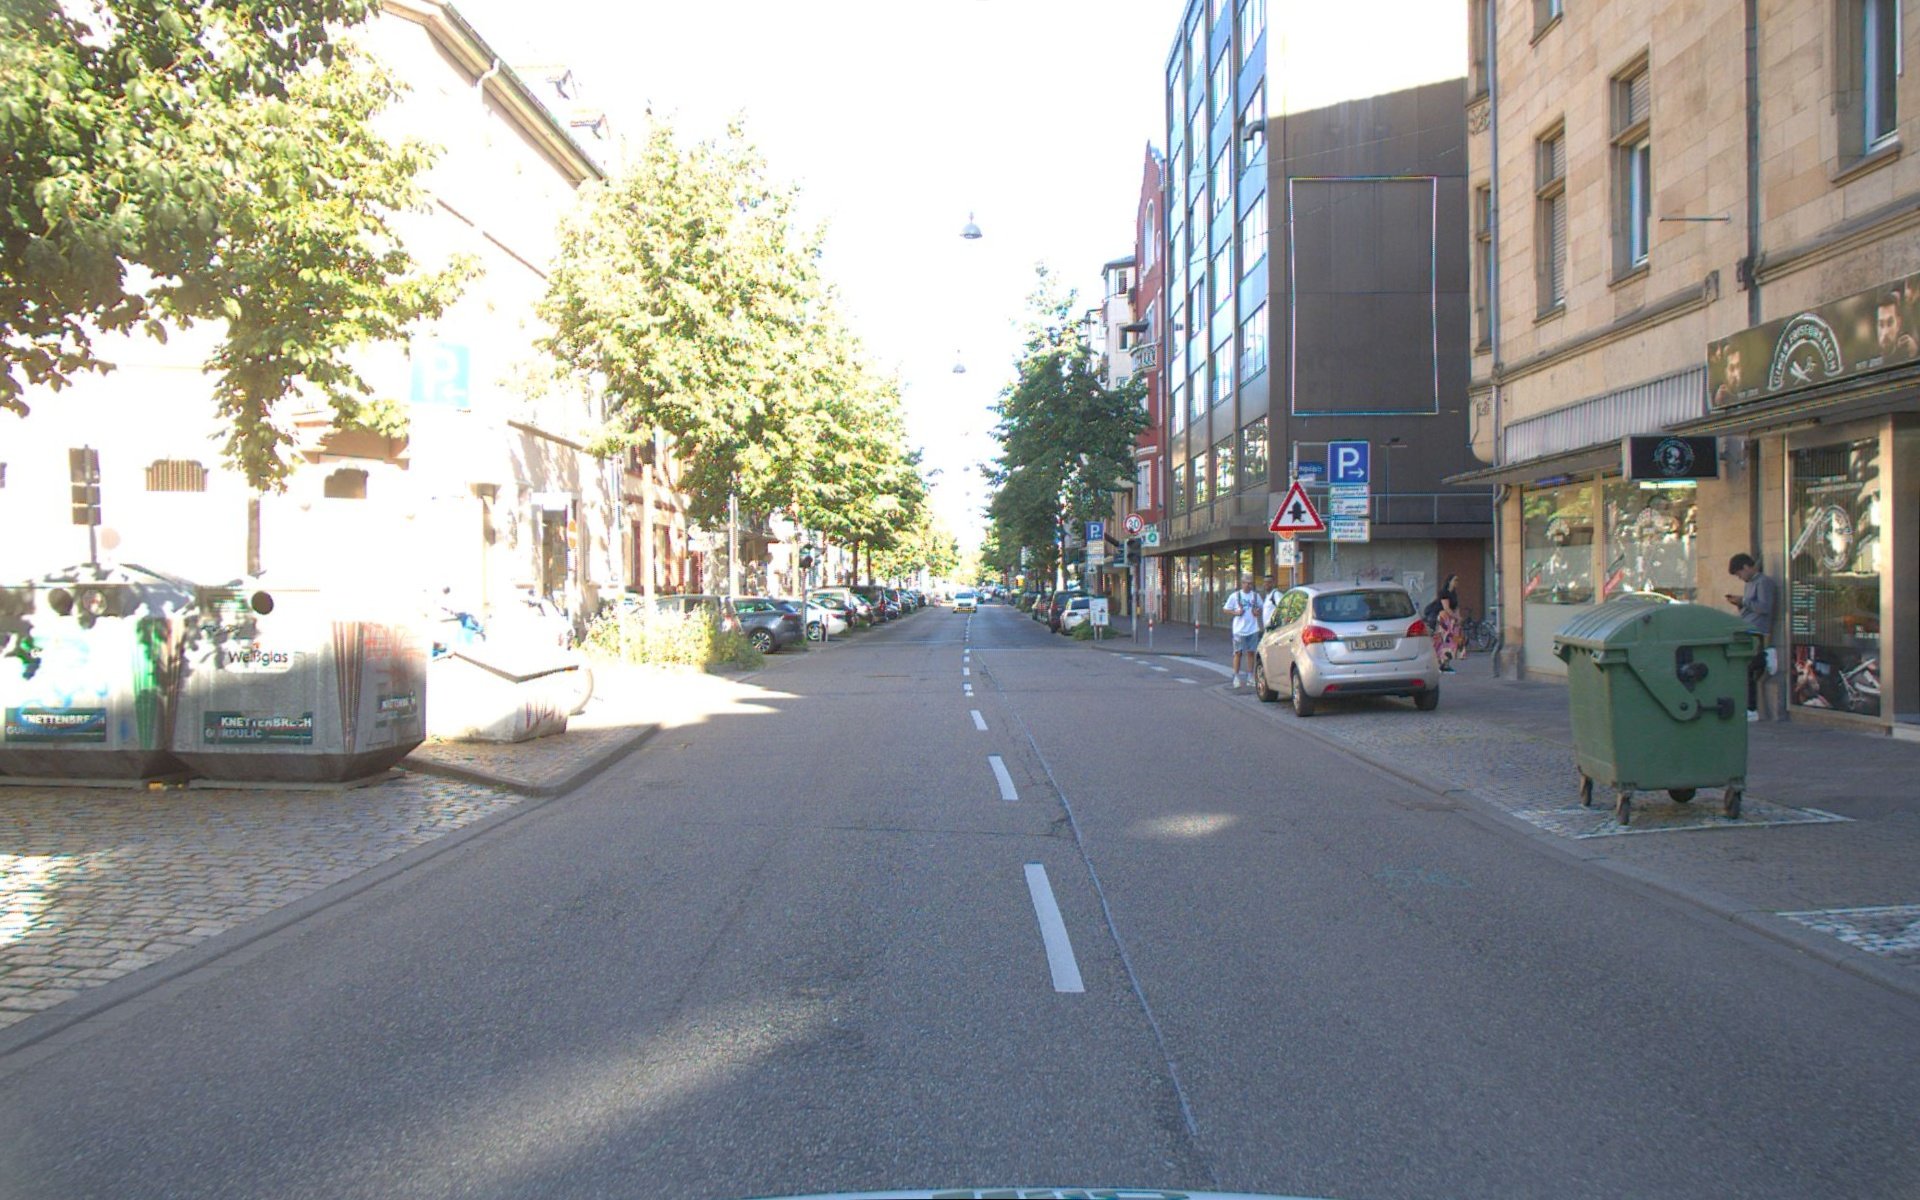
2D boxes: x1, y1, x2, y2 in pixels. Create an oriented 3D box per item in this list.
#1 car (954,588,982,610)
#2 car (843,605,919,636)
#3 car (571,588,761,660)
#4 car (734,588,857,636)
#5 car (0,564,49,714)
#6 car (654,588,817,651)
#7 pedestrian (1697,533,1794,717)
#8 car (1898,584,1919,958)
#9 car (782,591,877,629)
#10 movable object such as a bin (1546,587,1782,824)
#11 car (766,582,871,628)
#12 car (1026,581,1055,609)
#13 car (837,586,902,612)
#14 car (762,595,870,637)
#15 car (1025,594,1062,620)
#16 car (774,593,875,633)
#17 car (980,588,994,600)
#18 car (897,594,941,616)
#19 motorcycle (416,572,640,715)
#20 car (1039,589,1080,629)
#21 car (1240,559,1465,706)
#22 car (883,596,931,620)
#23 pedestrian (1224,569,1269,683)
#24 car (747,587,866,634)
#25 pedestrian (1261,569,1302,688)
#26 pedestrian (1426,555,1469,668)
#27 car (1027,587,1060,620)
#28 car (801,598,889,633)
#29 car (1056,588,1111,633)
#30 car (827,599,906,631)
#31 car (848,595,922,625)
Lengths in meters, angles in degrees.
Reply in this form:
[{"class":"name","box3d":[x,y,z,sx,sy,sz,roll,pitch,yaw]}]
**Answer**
[{"class":"car","box3d":[0.623,-0.054,122.789,1.952,1.583,4.000,1,-1,1]},{"class":"car","box3d":[-4.343,1.150,91.212,3.903,1.534,2.001,2,-1,4]},{"class":"car","box3d":[-6.643,0.545,37.677,3.904,1.534,2.000,1,-1,1]},{"class":"car","box3d":[-5.559,0.403,56.110,3.904,1.534,2.000,1,-1,1]},{"class":"car","box3d":[-14.154,0.429,20.119,5.199,1.831,2.145,1,-1,-26]},{"class":"car","box3d":[-5.806,0.512,43.134,3.904,1.534,2.000,1,-1,1]},{"class":"pedestrian","box3d":[8.010,0.252,16.881,0.595,1.820,0.683,-2,-1,-1]},{"class":"car","box3d":[4.577,0.662,4.784,1.643,1.473,3.785,1,-1,1]},{"class":"car","box3d":[-5.634,0.441,71.922,3.904,1.534,1.895,1,-1,1]},{"class":"movable object such as a bin","box3d":[4.860,0.687,11.543,1.051,1.482,1.493,-3,1,5]},{"class":"car","box3d":[-5.606,0.207,65.719,3.904,1.703,2.089,1,-1,1]},{"class":"car","box3d":[5.989,-0.346,123.241,1.953,2.049,4.000,0,0,0]},{"class":"car","box3d":[-5.833,-0.066,107.111,3.903,1.534,2.001,2,-1,5]},{"class":"car","box3d":[-5.477,0.616,63.227,3.904,1.534,2.000,1,-1,1]},{"class":"car","box3d":[4.780,0.398,95.622,1.953,1.478,4.000,0,0,0]},{"class":"car","box3d":[-5.553,0.542,67.965,3.904,1.534,2.000,1,-1,1]},{"class":"car","box3d":[3.514,-0.773,217.536,1.831,1.583,4.000,1,-1,1]},{"class":"car","box3d":[-3.925,0.462,158.598,3.902,2.049,2.002,0,0,10]},{"class":"motorcycle","box3d":[-5.144,0.514,19.730,2.420,1.632,1.000,-1,0,19]},{"class":"car","box3d":[5.257,0.512,87.798,1.953,2.049,4.000,1,-1,0]},{"class":"car","box3d":[5.058,0.422,22.008,1.860,1.704,4.824,1,-1,0]},{"class":"car","box3d":[-4.658,0.717,145.240,3.902,2.049,2.002,0,0,10]},{"class":"pedestrian","box3d":[4.537,0.412,26.186,0.601,1.765,0.634,1,-1,18]},{"class":"car","box3d":[-5.366,0.367,58.197,3.904,1.534,2.000,1,-1,1]},{"class":"pedestrian","box3d":[4.989,0.441,25.631,0.501,1.811,0.612,1,-1,21]},{"class":"pedestrian","box3d":[8.356,0.193,28.338,0.632,1.904,0.627,0,-1,23]},{"class":"car","box3d":[5.422,0.230,107.566,1.953,2.049,4.000,-1,0,0]},{"class":"car","box3d":[-5.289,0.718,76.539,3.905,1.534,2.000,1,-1,0]},{"class":"car","box3d":[4.707,0.427,63.399,1.952,1.646,4.011,1,-1,3]},{"class":"car","box3d":[-4.962,0.814,88.122,3.903,1.534,2.001,2,-1,4]},{"class":"car","box3d":[-4.227,0.555,93.830,3.903,1.534,2.001,2,-1,4]}]
